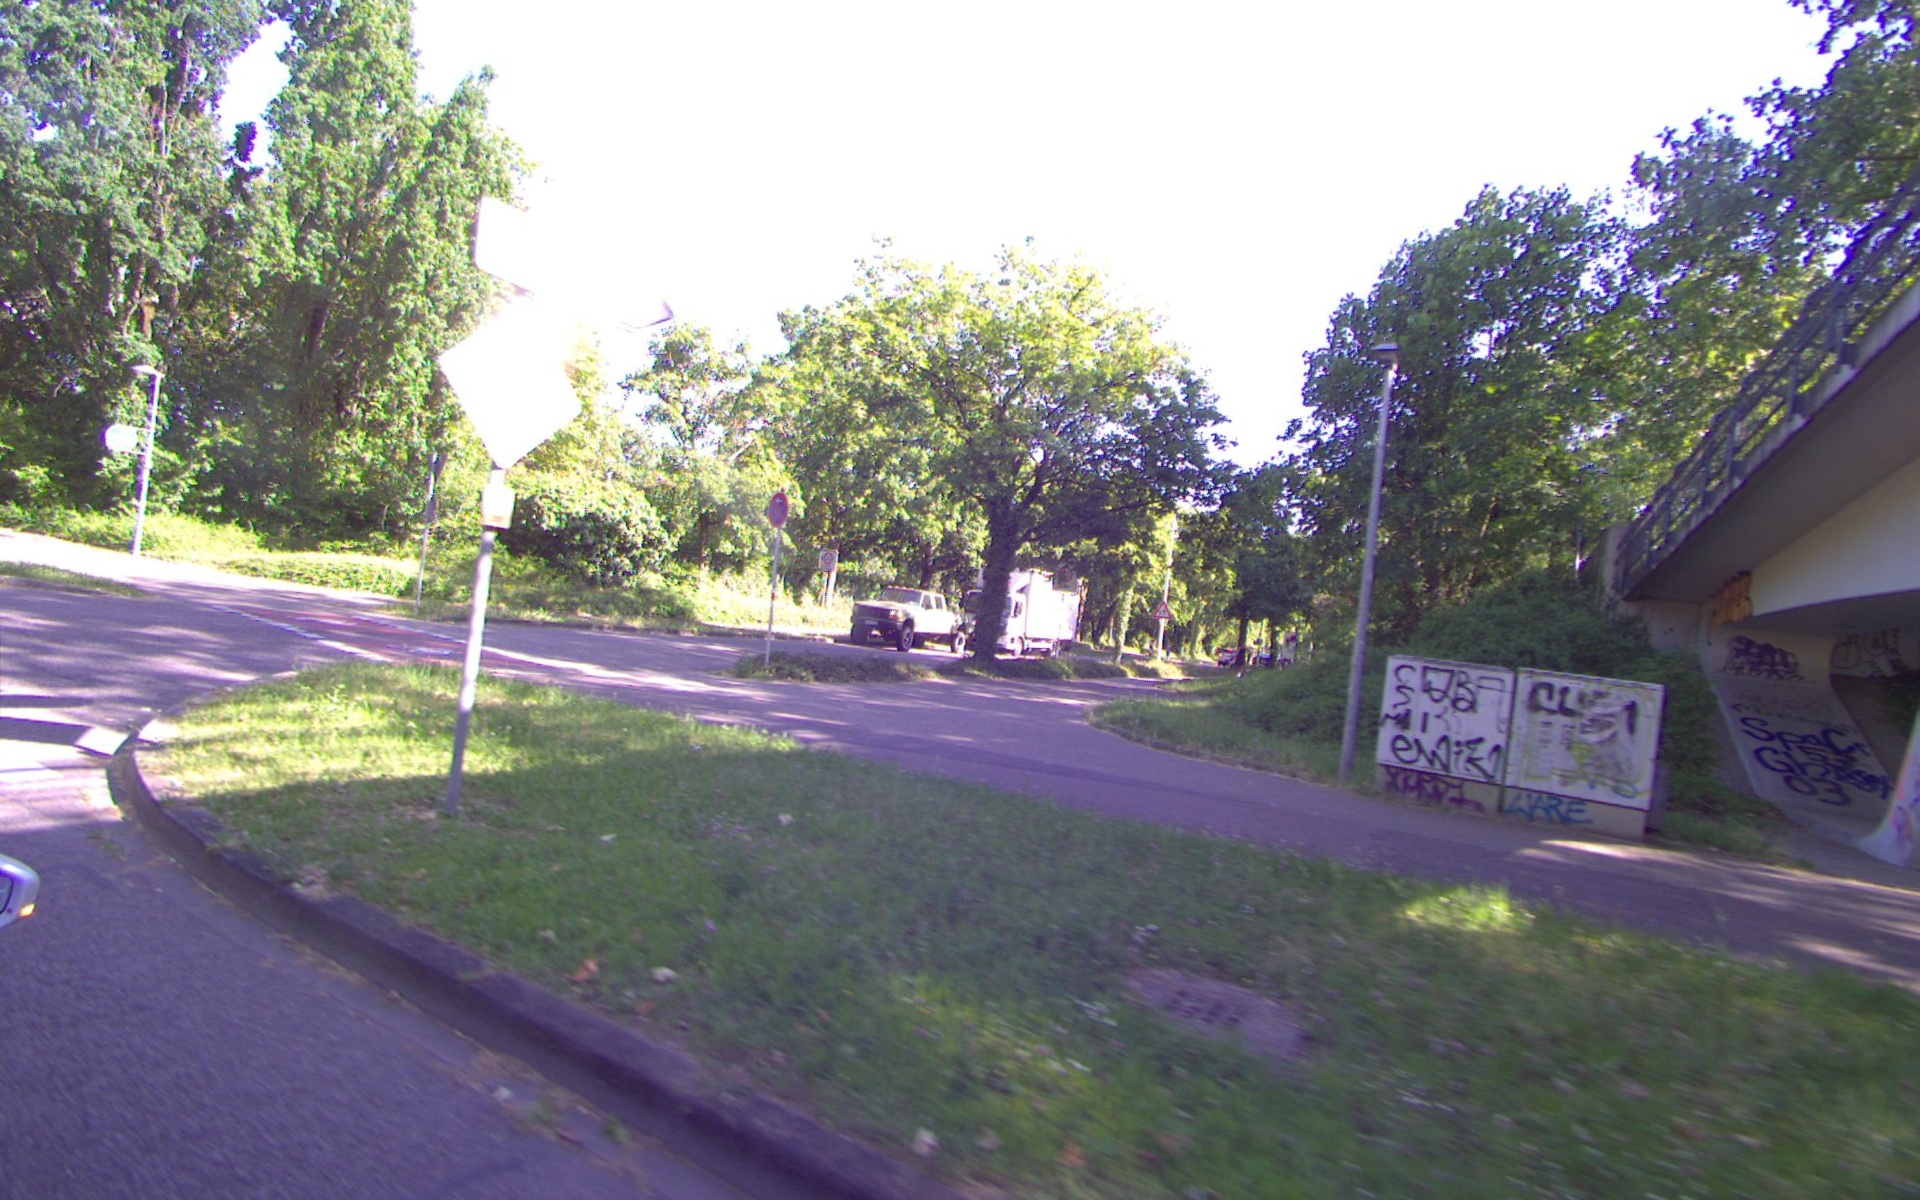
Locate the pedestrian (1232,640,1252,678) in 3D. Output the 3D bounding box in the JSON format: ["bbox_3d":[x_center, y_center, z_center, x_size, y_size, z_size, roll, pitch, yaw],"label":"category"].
[{"bbox_3d":[14.429,3.015,51.455,0.639,1.842,0.649,7,0,26],"label":"pedestrian"}]

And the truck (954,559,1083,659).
[{"bbox_3d":[2.793,0.541,44.354,2.576,3.671,7.953,7,-1,25],"label":"truck"}]

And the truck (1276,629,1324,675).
[{"bbox_3d":[33.910,5.292,100.133,2.846,3.992,9.993,8,0,26],"label":"truck"}]

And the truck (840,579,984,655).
[{"bbox_3d":[-1.514,0.683,35.487,2.082,2.119,6.644,7,-1,25],"label":"truck"}]

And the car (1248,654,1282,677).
[{"bbox_3d":[24.345,5.213,80.245,1.768,1.528,3.997,7,-1,26],"label":"car"}]

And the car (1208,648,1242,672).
[{"bbox_3d":[20.847,4.726,79.063,1.768,1.528,3.998,7,-1,25],"label":"car"}]
